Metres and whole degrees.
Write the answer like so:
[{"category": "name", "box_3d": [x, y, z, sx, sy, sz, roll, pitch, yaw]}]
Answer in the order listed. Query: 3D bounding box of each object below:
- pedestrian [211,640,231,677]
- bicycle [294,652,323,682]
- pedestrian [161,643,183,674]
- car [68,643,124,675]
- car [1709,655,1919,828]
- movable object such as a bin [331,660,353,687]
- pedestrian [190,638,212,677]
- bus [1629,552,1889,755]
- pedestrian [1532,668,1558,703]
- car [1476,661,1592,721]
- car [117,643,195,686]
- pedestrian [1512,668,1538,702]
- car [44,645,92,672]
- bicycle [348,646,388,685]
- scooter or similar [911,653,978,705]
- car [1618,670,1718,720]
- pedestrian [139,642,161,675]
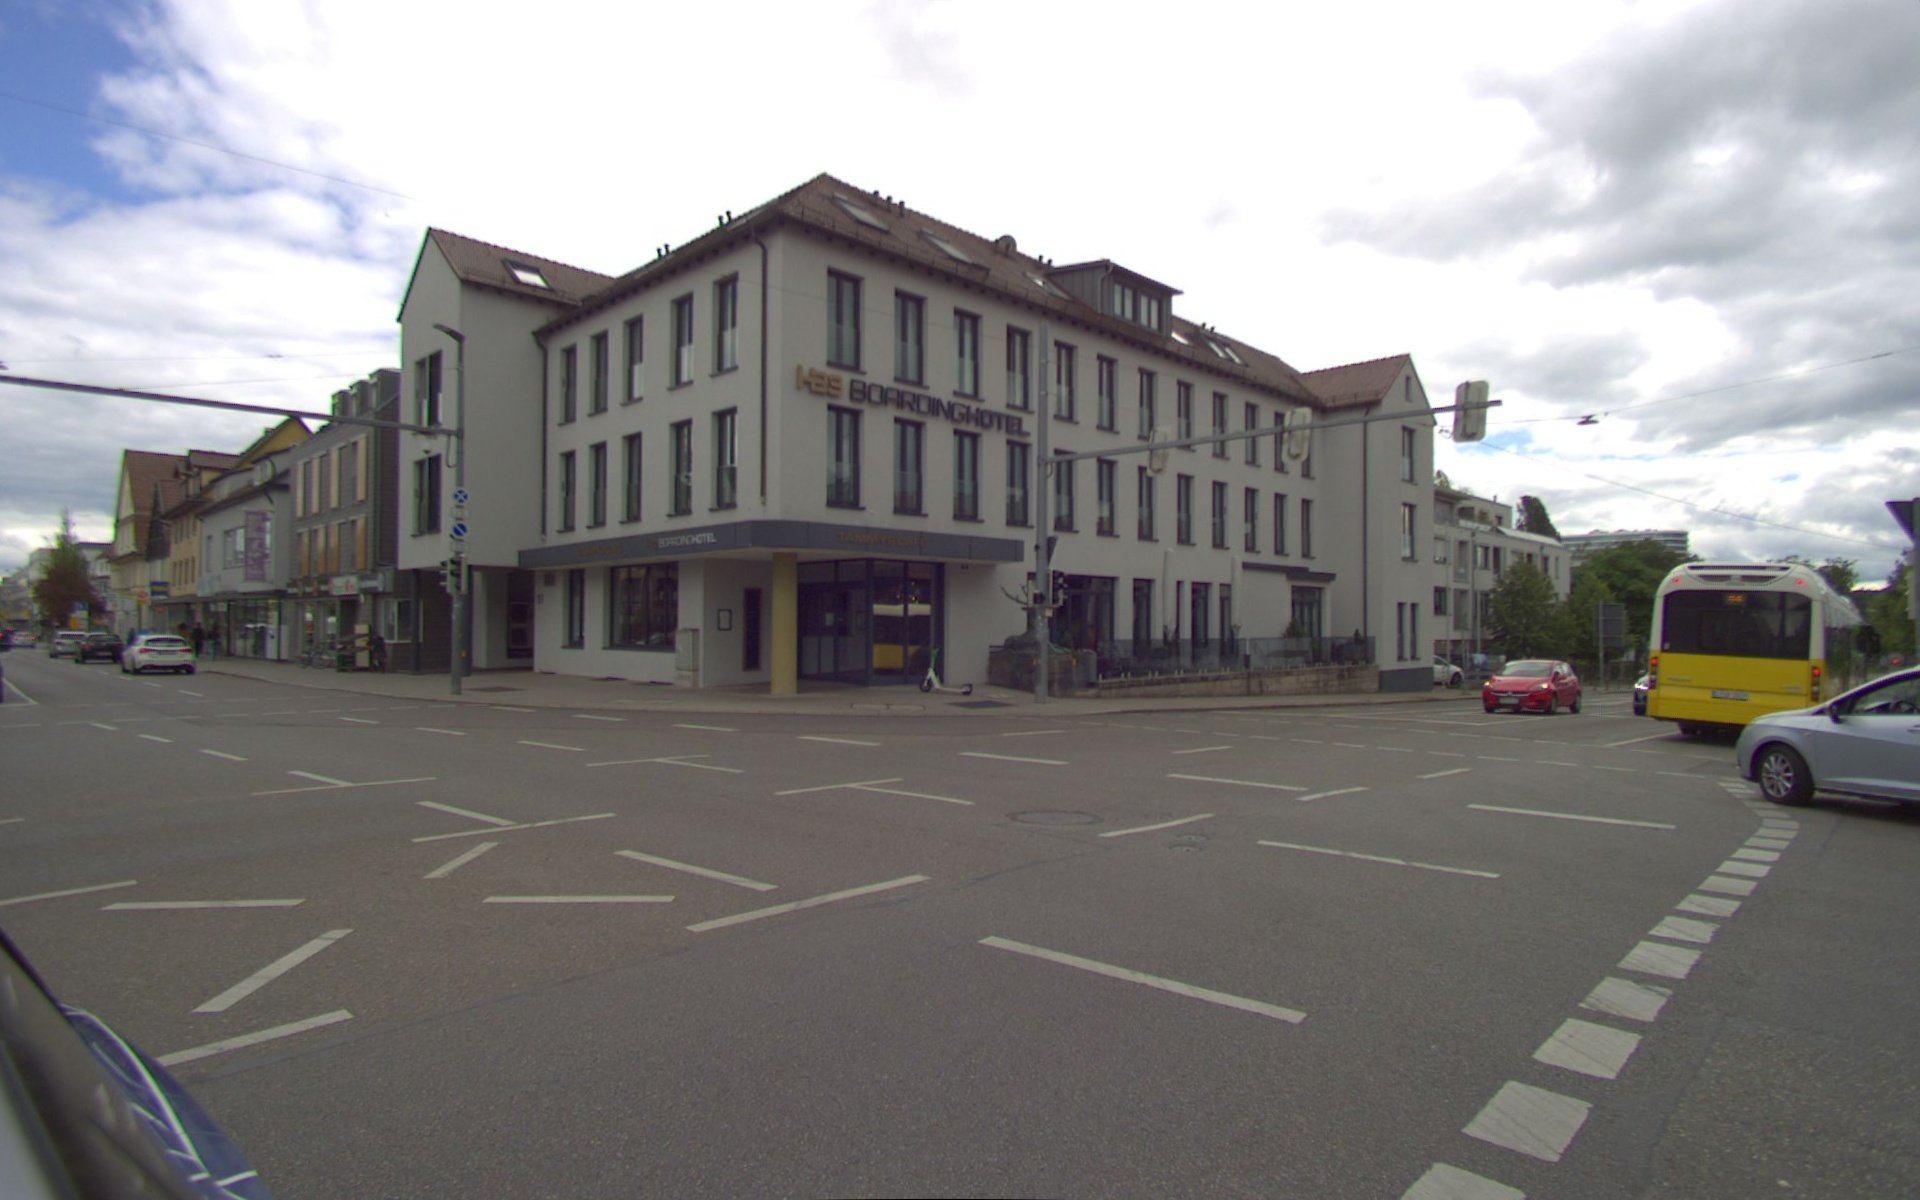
[{"category": "pedestrian", "box_3d": [-36.347, 2.850, 49.769, 0.698, 1.795, 0.870, 1, -3, -44]}, {"category": "bicycle", "box_3d": [-24.623, 2.511, 38.233, 0.565, 1.109, 1.903, 1, -3, -45]}, {"category": "pedestrian", "box_3d": [-41.503, 3.058, 53.286, 0.800, 1.595, 0.921, 1, -3, -45]}, {"category": "car", "box_3d": [-41.945, 2.832, 49.083, 3.819, 1.470, 1.724, -3, -4, 45]}, {"category": "car", "box_3d": [8.791, 1.164, 8.340, 1.614, 1.429, 4.206, 0, -4, -9]}, {"category": "movable object such as a bin", "box_3d": [-21.627, 2.573, 35.439, 0.507, 0.906, 0.545, -3, -2, 43]}, {"category": "pedestrian", "box_3d": [-36.944, 2.786, 49.241, 0.698, 1.853, 1.029, 1, -3, -44]}, {"category": "bus", "box_3d": [17.846, 1.277, 22.102, 2.999, 3.353, 12.124, -3, -6, 45]}, {"category": "pedestrian", "box_3d": [29.498, 4.300, 51.039, 0.851, 1.665, 0.864, 1, -3, -43]}, {"category": "car", "box_3d": [15.715, 2.446, 27.649, 1.816, 1.497, 3.942, -2, -4, 44]}, {"category": "car", "box_3d": [-29.456, 2.324, 37.045, 4.237, 1.470, 1.724, -3, -4, 45]}, {"category": "pedestrian", "box_3d": [28.874, 4.342, 51.721, 0.851, 1.665, 0.864, 1, -3, -43]}, {"category": "car", "box_3d": [-52.546, 3.444, 59.600, 4.001, 1.497, 1.847, -3, -3, 44]}, {"category": "bicycle", "box_3d": [-19.715, 2.172, 33.683, 2.119, 1.241, 0.575, -3, -2, 44]}, {"category": "scooter or similar", "box_3d": [-0.359, 1.869, 24.048, 1.553, 1.167, 0.426, 2, -2, 3]}, {"category": "car", "box_3d": [20.204, 2.670, 28.834, 1.801, 1.289, 3.466, -2, -4, 44]}, {"category": "pedestrian", "box_3d": [-42.183, 3.033, 52.712, 0.800, 1.674, 0.921, 1, -3, -45]}]
